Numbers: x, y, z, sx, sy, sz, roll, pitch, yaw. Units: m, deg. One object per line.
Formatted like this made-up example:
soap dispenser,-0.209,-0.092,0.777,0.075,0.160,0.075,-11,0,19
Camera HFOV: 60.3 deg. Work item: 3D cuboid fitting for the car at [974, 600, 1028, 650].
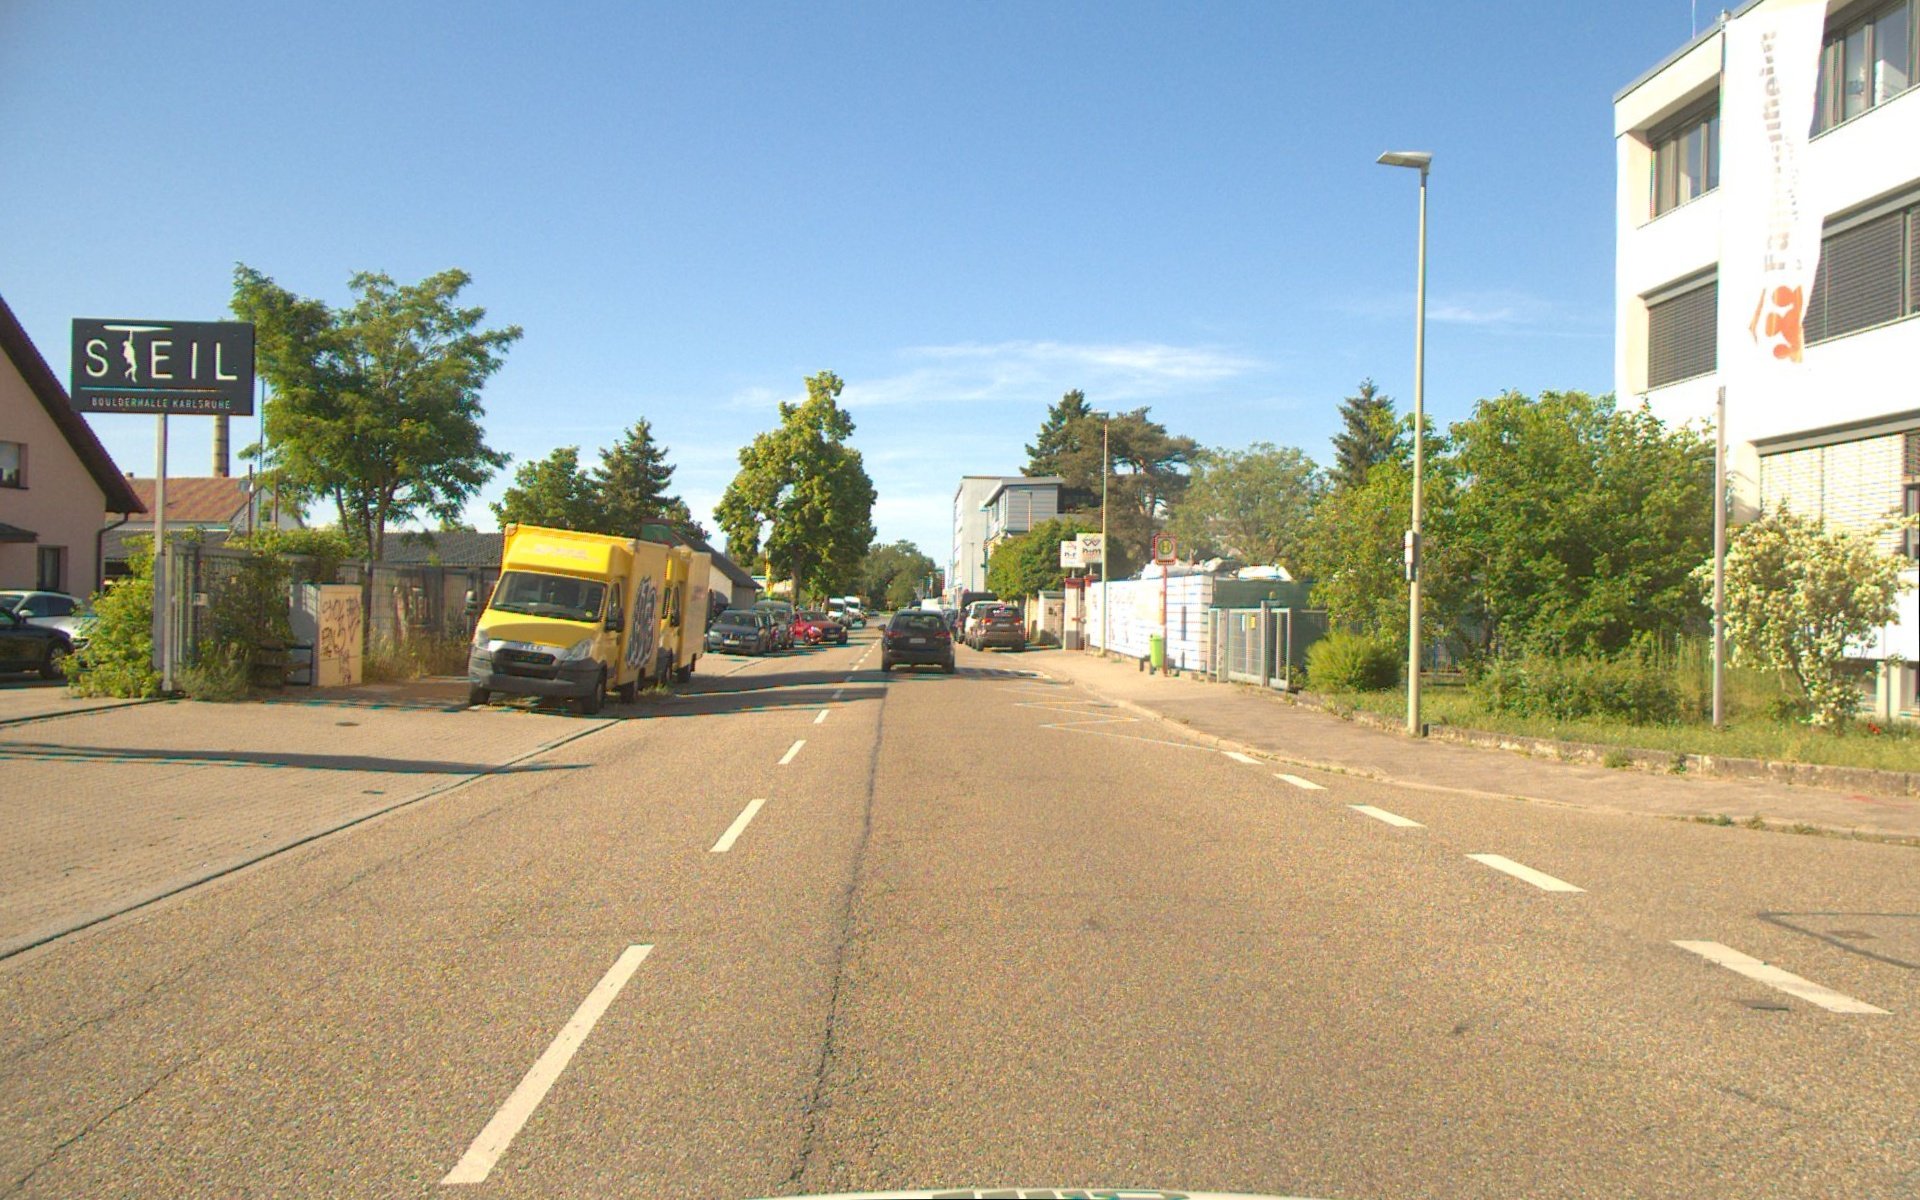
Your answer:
car,1.570,0.960,65.237,1.880,1.857,4.078,1,0,-2

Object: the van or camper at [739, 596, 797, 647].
van or camper,-7.582,0.845,65.572,1.852,1.959,4.265,0,-1,-1

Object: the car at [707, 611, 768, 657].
car,-7.475,1.111,55.896,1.722,1.428,4.554,1,0,-4

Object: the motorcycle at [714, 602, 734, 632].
motorcycle,-11.913,0.856,83.407,0.761,1.470,2.037,1,0,-2

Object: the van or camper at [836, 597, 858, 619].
van or camper,-12.817,0.934,187.162,2.278,2.403,6.520,1,0,-6

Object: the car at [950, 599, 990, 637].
car,0.492,0.919,84.200,1.880,1.857,4.078,1,0,-2

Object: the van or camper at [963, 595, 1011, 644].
van or camper,1.141,0.834,71.922,1.880,2.055,4.078,1,0,-2

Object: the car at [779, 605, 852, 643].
car,-6.239,0.998,71.113,1.853,1.511,4.011,-1,1,-26

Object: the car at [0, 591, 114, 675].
car,-19.097,0.634,33.133,1.658,1.606,4.047,1,0,12

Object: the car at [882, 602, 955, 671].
car,-0.985,0.850,39.979,1.677,1.559,3.687,0,0,-1

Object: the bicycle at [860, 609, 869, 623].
bicycle,-8.314,1.398,144.004,0.812,1.174,2.938,1,0,-3

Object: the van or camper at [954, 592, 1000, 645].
van or camper,0.769,0.836,76.877,1.953,2.351,3.998,1,0,-2

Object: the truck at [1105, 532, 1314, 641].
truck,9.272,-0.477,61.894,7.232,3.837,2.829,1,0,-6

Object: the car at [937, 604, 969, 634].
car,-0.474,1.169,104.124,1.880,1.857,4.078,1,0,-2

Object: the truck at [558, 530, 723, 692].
truck,-6.507,0.214,34.539,2.148,2.952,6.437,3,0,-1

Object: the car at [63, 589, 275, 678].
car,-15.524,0.627,32.696,1.658,1.606,4.047,1,0,12

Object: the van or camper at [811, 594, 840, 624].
van or camper,-11.250,0.702,137.823,2.278,2.403,6.520,1,0,-6

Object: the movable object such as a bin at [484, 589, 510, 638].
movable object such as a bin,-13.150,0.381,46.984,0.573,1.363,0.549,1,0,-2

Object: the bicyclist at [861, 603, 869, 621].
bicyclist,-8.293,1.024,143.941,0.681,1.566,0.634,1,0,-4

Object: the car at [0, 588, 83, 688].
car,-16.447,0.617,26.881,1.658,1.606,4.048,1,0,12

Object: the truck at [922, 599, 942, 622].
truck,-2.914,1.045,170.778,1.953,2.328,6.952,1,0,-2

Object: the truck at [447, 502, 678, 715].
truck,-6.406,0.141,27.597,2.354,3.035,6.371,2,0,-2
